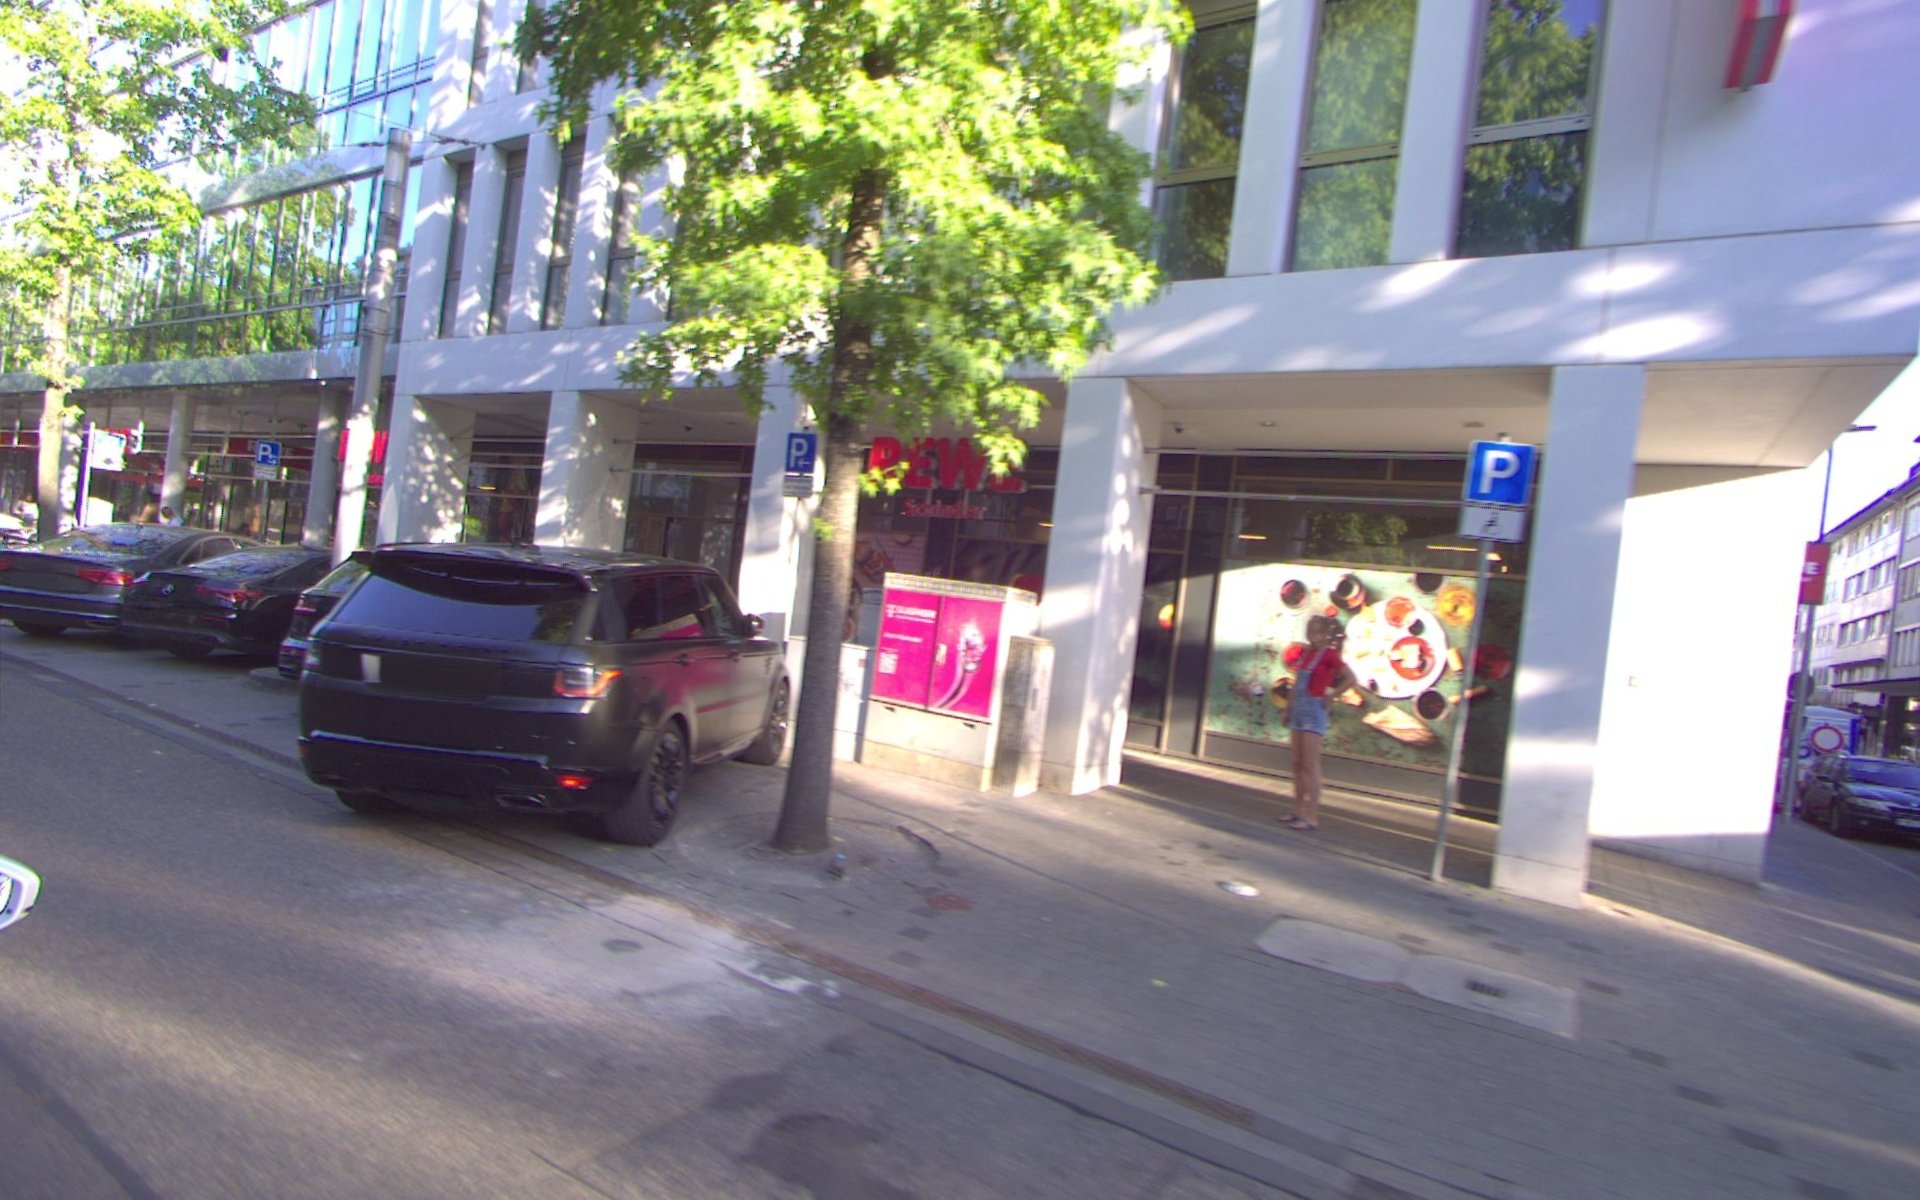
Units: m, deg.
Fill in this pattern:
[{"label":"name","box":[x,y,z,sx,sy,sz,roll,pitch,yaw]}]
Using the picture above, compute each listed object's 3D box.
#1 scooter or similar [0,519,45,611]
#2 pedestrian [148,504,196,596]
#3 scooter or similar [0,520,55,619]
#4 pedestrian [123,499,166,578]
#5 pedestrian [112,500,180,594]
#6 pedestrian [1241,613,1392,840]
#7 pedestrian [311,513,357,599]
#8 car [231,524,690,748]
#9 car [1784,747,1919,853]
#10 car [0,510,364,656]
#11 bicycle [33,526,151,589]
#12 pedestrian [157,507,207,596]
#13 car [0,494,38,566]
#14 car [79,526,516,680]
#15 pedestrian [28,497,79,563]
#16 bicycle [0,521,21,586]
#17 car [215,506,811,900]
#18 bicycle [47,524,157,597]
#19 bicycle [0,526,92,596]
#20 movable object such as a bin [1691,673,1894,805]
[{"label":"scooter or similar","box":[-13.925,-0.509,14.322,0.554,1.293,1.305,5,2,1]},{"label":"pedestrian","box":[-15.754,-0.996,20.114,0.550,1.773,0.523,7,2,34]},{"label":"scooter or similar","box":[-13.198,-0.446,13.970,0.452,1.293,1.300,4,2,-20]},{"label":"pedestrian","box":[-19.201,-1.446,23.686,0.516,1.773,0.557,7,2,32]},{"label":"pedestrian","box":[-15.832,-1.024,19.568,0.540,1.716,0.681,7,-1,20]},{"label":"pedestrian","box":[3.090,1.075,8.768,0.746,1.841,0.798,5,1,-25]},{"label":"pedestrian","box":[-14.851,-1.037,23.865,0.653,1.943,0.583,7,2,34]},{"label":"car","box":[-4.869,0.315,10.790,1.970,1.676,4.667,6,0,8]},{"label":"car","box":[16.535,3.570,18.176,1.767,1.434,4.325,4,-3,30]},{"label":"car","box":[-10.566,-0.256,13.777,1.941,1.488,5.055,6,1,-3]},{"label":"bicycle","box":[-17.170,-0.822,19.951,0.620,1.120,1.778,5,1,7]},{"label":"pedestrian","box":[-15.726,-0.980,20.337,0.542,1.716,0.517,7,-1,37]},{"label":"car","box":[-22.631,-1.689,21.555,1.820,1.591,4.157,6,1,-1]},{"label":"car","box":[-8.096,0.066,12.988,1.897,1.444,4.668,6,0,11]},{"label":"pedestrian","box":[-24.353,-1.884,27.026,0.868,1.644,0.714,7,1,33]},{"label":"bicycle","box":[-17.277,-0.844,17.247,0.620,1.120,1.694,5,1,6]},{"label":"car","box":[-2.623,0.508,7.400,1.957,1.786,4.666,6,1,3]},{"label":"bicycle","box":[-15.804,-0.713,18.565,0.852,1.188,1.269,7,2,1]},{"label":"bicycle","box":[-16.025,-0.665,17.240,0.719,1.089,1.673,7,2,2]},{"label":"movable object such as a bin","box":[23.772,4.009,28.545,8.150,2.943,2.795,9,-2,-40]}]
